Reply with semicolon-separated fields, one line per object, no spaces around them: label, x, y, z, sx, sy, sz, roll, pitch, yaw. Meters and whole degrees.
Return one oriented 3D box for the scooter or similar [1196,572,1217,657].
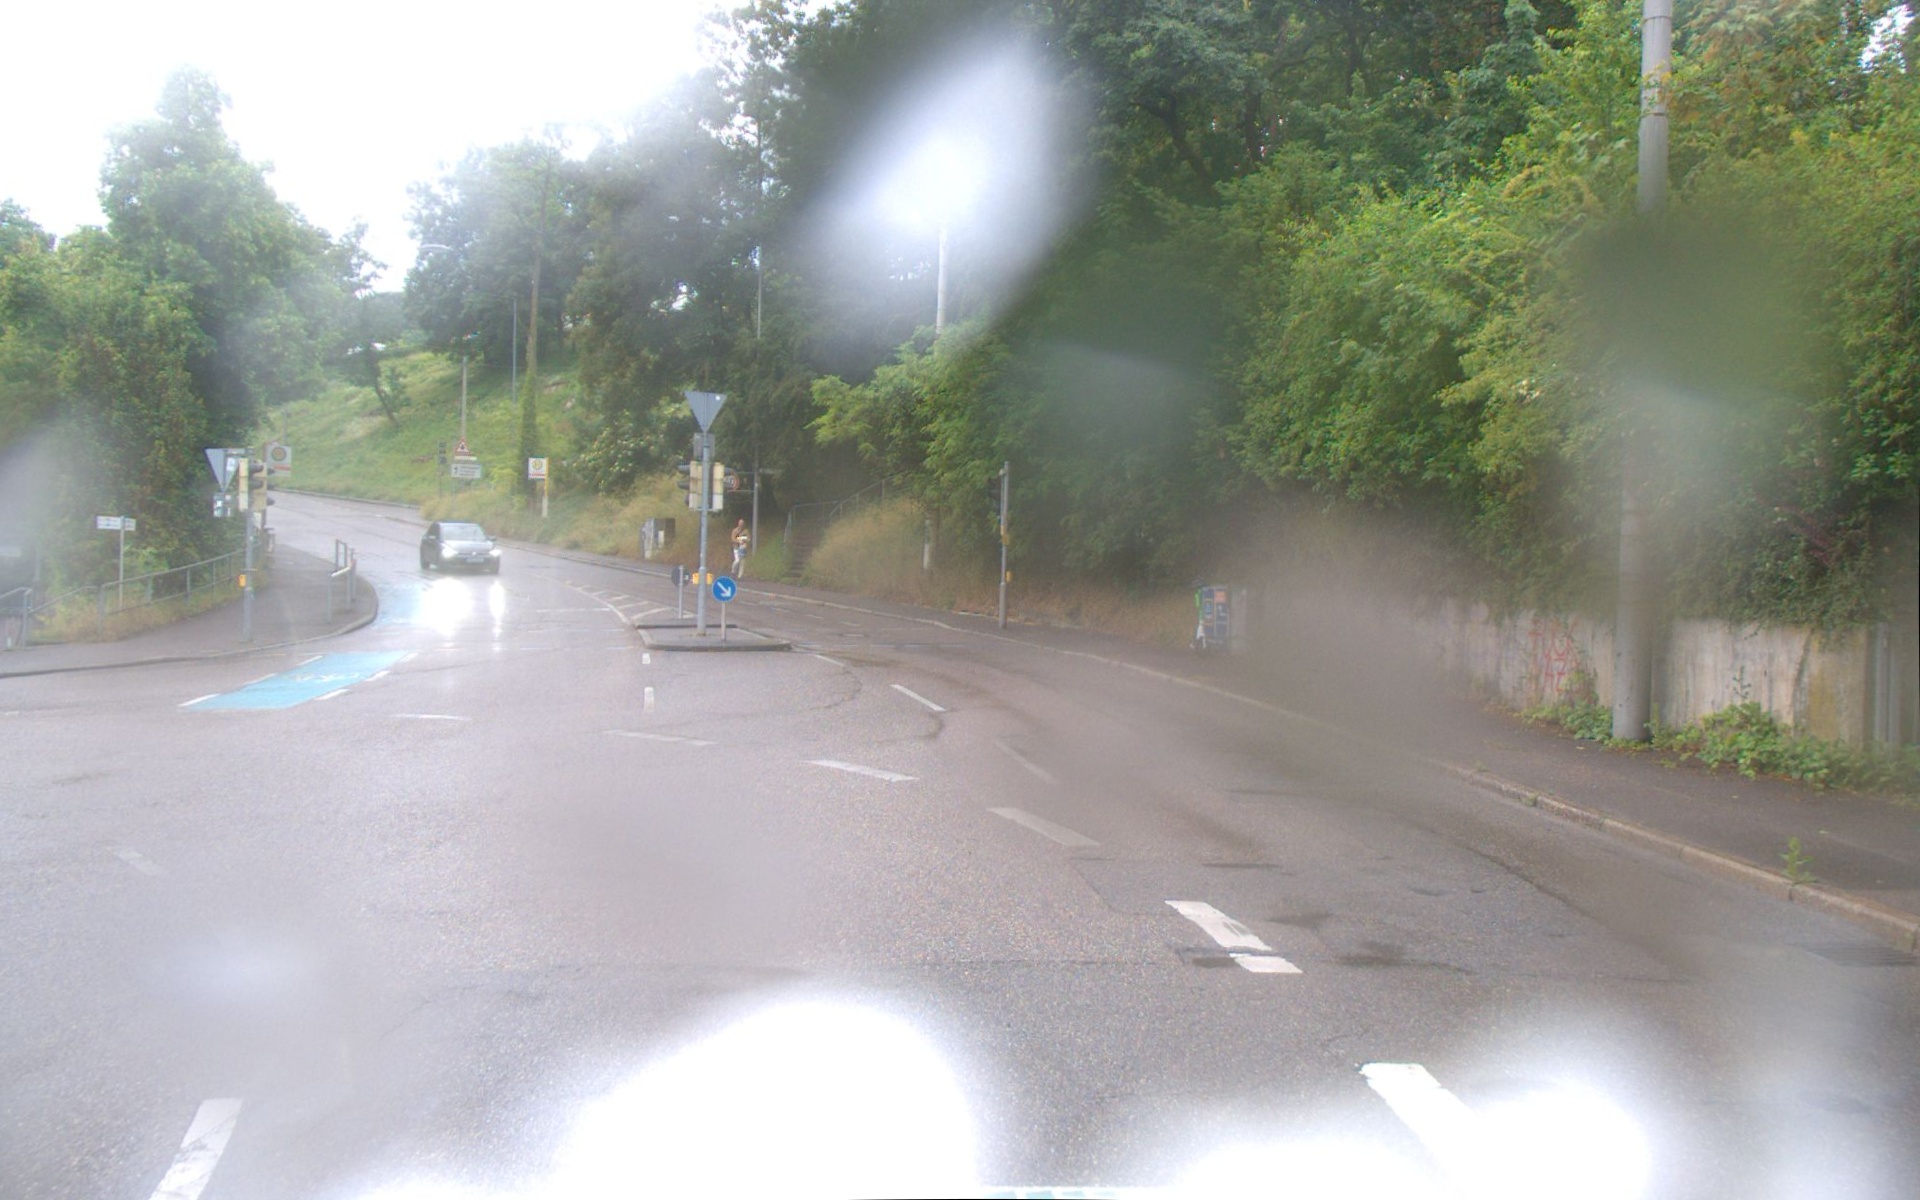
scooter or similar;3.909;0.217;26.268;0.315;1.302;0.752;0;2;7

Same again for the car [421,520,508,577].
car;-15.096;-1.591;50.255;1.931;1.538;4.372;1;3;-25

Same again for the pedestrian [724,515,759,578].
pedestrian;-6.357;-1.546;48.195;0.867;1.767;0.861;1;-1;-17
